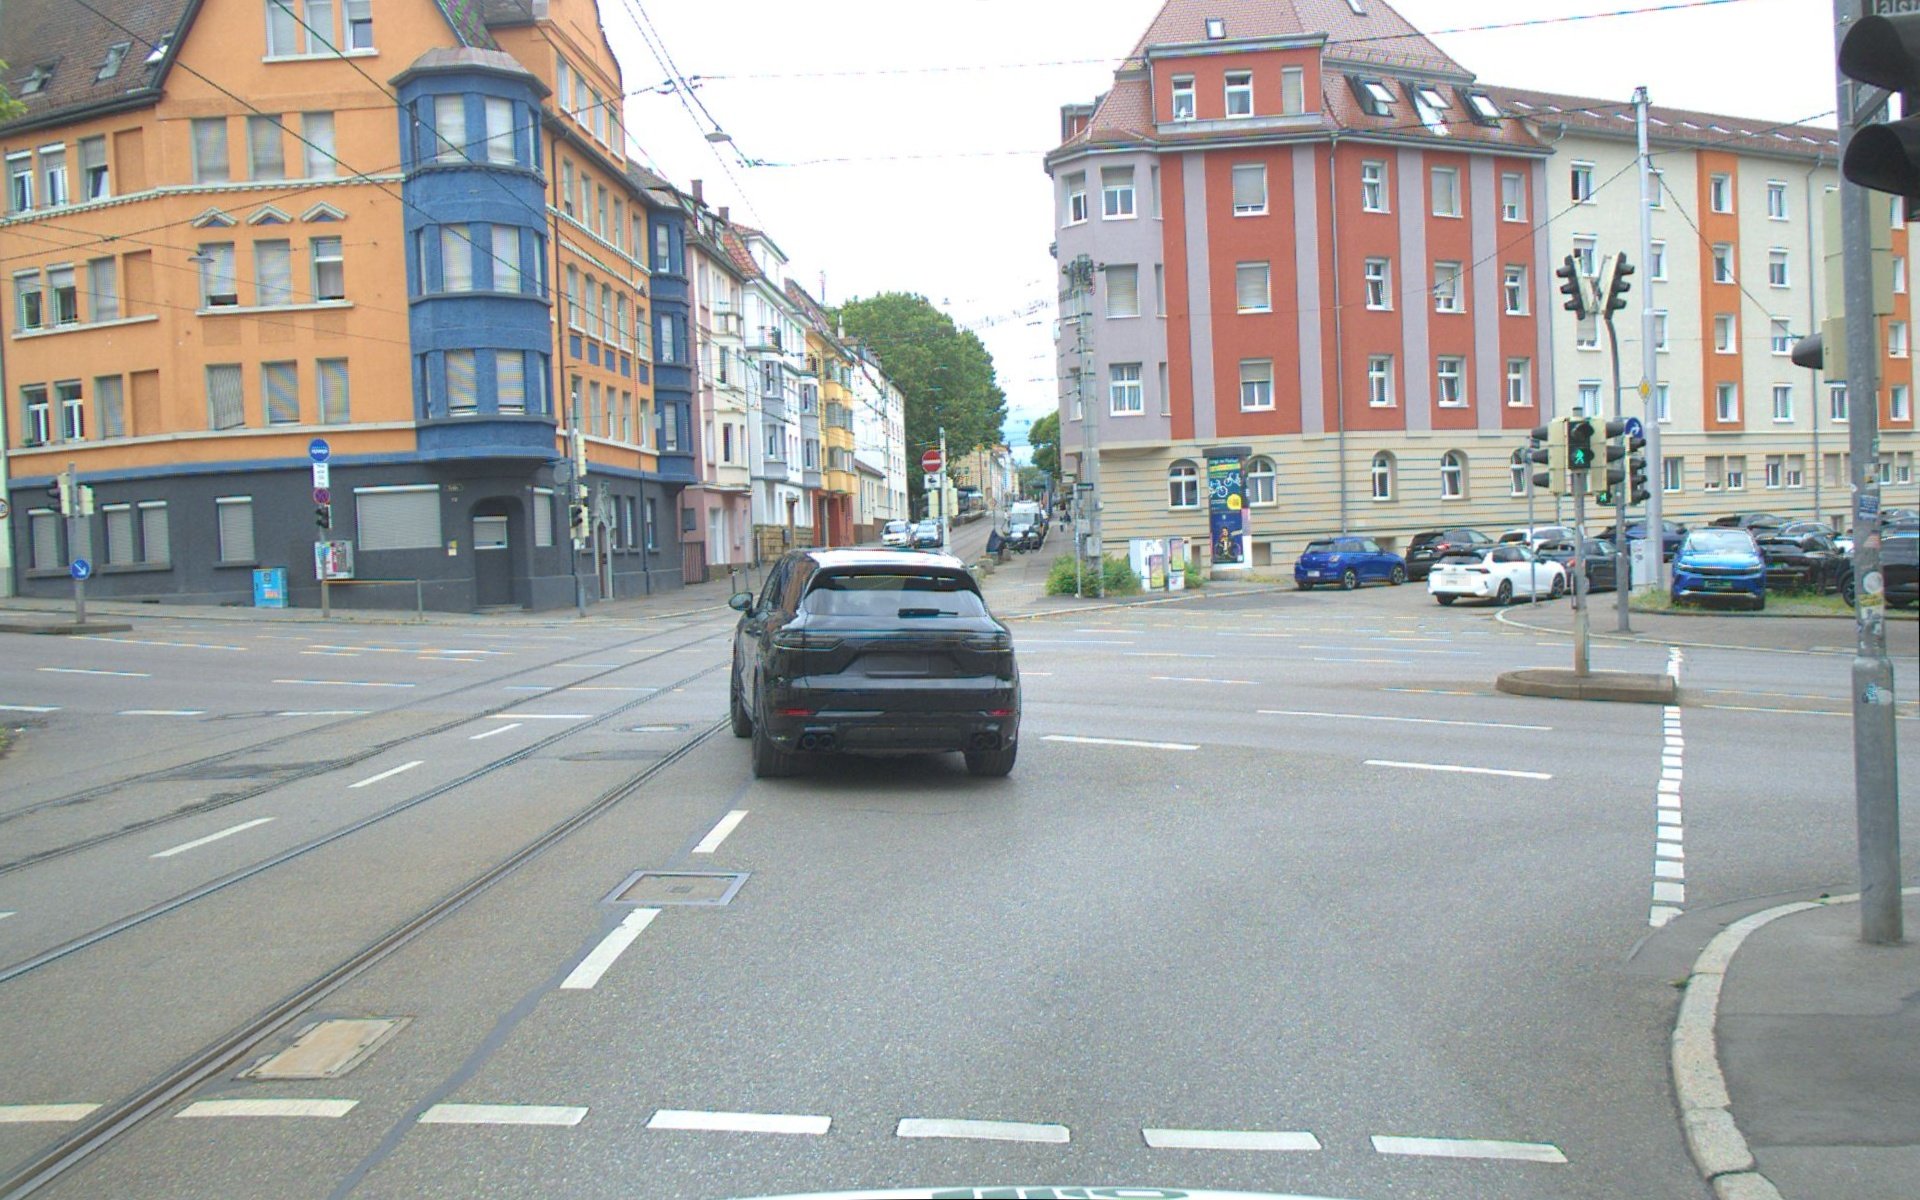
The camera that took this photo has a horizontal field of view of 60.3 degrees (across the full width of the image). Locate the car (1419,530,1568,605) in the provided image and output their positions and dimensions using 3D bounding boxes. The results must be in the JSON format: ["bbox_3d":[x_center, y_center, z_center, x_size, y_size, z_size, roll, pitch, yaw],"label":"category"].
[{"bbox_3d":[13.336,-0.862,41.219,4.112,1.561,1.887,-6,6,-45],"label":"car"}]

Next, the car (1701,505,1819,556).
[{"bbox_3d":[29.516,-2.593,61.016,4.081,1.660,1.902,-4,5,-28],"label":"car"}]

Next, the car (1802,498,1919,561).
[{"bbox_3d":[25.073,-1.916,44.384,1.775,1.561,4.066,-5,5,-36],"label":"car"}]

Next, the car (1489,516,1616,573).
[{"bbox_3d":[19.920,-1.903,55.571,4.087,1.660,1.899,-4,5,-31],"label":"car"}]

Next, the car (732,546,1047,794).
[{"bbox_3d":[-0.760,0.406,13.482,1.987,1.670,4.346,0,2,-10],"label":"car"}]

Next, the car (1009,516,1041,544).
[{"bbox_3d":[3.890,-4.177,98.593,1.801,1.595,3.822,0,3,4],"label":"car"}]

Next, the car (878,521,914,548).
[{"bbox_3d":[-4.269,-4.412,110.391,1.951,1.721,4.004,0,3,4],"label":"car"}]

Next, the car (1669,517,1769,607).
[{"bbox_3d":[16.275,-0.876,35.383,1.788,1.604,4.258,2,6,26],"label":"car"}]

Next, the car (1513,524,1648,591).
[{"bbox_3d":[16.953,-1.191,45.115,4.110,1.561,1.888,-6,6,-43],"label":"car"}]

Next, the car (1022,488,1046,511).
[{"bbox_3d":[7.431,-10.028,165.404,2.219,2.221,4.773,0,3,4],"label":"car"}]

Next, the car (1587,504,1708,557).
[{"bbox_3d":[24.289,-2.490,58.417,4.087,1.660,1.899,-4,5,-31],"label":"car"}]

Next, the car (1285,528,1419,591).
[{"bbox_3d":[11.628,-1.236,48.944,4.107,1.561,1.890,-5,6,-42],"label":"car"}]

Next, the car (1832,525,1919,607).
[{"bbox_3d":[19.838,-0.651,32.998,1.806,1.502,3.960,-4,6,-31],"label":"car"}]

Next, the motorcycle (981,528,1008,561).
[{"bbox_3d":[1.560,-2.515,74.941,0.843,1.348,2.182,-7,4,-5],"label":"motorcycle"}]

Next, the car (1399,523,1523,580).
[{"bbox_3d":[15.937,-1.564,52.513,4.105,1.561,1.890,-5,6,-41],"label":"car"}]

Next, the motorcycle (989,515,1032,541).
[{"bbox_3d":[2.598,-3.726,85.433,2.135,1.349,0.699,-1,3,-6],"label":"motorcycle"}]

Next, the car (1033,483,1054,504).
[{"bbox_3d":[9.346,-11.916,185.522,2.219,2.221,4.773,0,3,4],"label":"car"}]

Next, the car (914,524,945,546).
[{"bbox_3d":[-1.984,-4.245,107.129,1.650,1.349,3.665,0,3,4],"label":"car"}]

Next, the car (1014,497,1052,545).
[{"bbox_3d":[4.654,-5.013,104.338,2.219,2.940,4.773,0,3,4],"label":"car"}]

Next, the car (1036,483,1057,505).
[{"bbox_3d":[9.395,-11.474,179.260,2.219,2.221,4.773,0,3,4],"label":"car"}]

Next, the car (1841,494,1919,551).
[{"bbox_3d":[30.915,-2.557,54.141,4.089,1.673,1.898,-4,5,-32],"label":"car"}]
